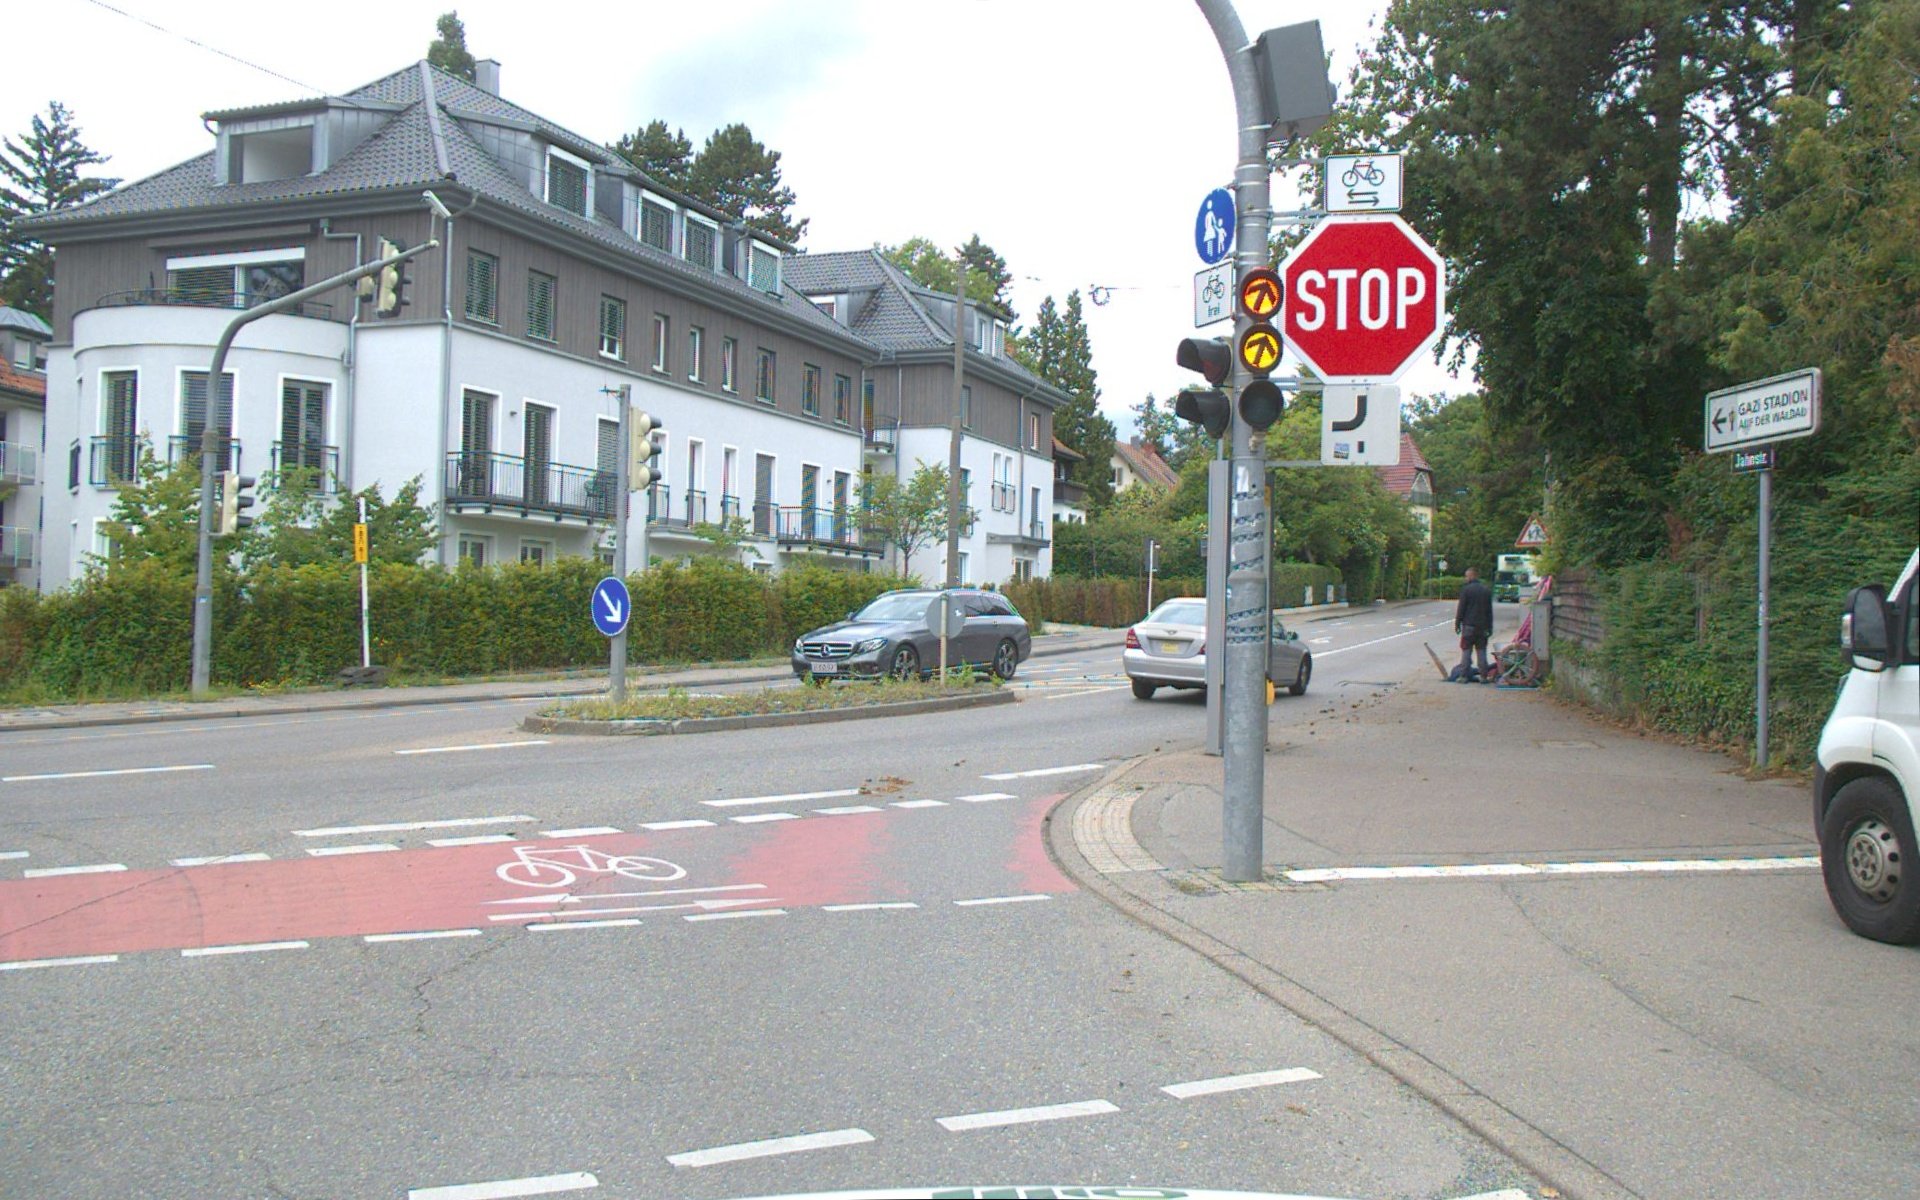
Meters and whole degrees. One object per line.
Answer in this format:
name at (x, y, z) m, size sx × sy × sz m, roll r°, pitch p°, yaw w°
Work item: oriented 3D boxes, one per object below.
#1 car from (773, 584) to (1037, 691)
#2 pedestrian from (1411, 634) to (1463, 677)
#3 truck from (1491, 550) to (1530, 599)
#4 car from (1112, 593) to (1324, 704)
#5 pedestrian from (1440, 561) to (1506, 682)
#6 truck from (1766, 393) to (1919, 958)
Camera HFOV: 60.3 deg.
car at (-0.747, 0.517, 26.090) m, size 1.793 × 1.511 × 4.734 m, roll 0°, pitch 1°, yaw 33°
pedestrian at (8.220, 0.949, 28.526) m, size 0.635 × 0.709 × 0.582 m, roll 0°, pitch 1°, yaw -20°
truck at (42.475, -1.916, 127.566) m, size 2.719 × 3.522 × 7.496 m, roll 1°, pitch 0°, yaw 18°
car at (3.859, 0.665, 24.095) m, size 1.762 × 1.439 × 4.330 m, roll 1°, pitch 0°, yaw 27°
pedestrian at (8.507, 0.344, 27.457) m, size 0.828 × 1.957 × 0.801 m, roll 1°, pitch 1°, yaw 1°
truck at (5.212, 0.327, 5.272) m, size 2.347 × 2.393 × 6.189 m, roll 1°, pitch 0°, yaw 1°
